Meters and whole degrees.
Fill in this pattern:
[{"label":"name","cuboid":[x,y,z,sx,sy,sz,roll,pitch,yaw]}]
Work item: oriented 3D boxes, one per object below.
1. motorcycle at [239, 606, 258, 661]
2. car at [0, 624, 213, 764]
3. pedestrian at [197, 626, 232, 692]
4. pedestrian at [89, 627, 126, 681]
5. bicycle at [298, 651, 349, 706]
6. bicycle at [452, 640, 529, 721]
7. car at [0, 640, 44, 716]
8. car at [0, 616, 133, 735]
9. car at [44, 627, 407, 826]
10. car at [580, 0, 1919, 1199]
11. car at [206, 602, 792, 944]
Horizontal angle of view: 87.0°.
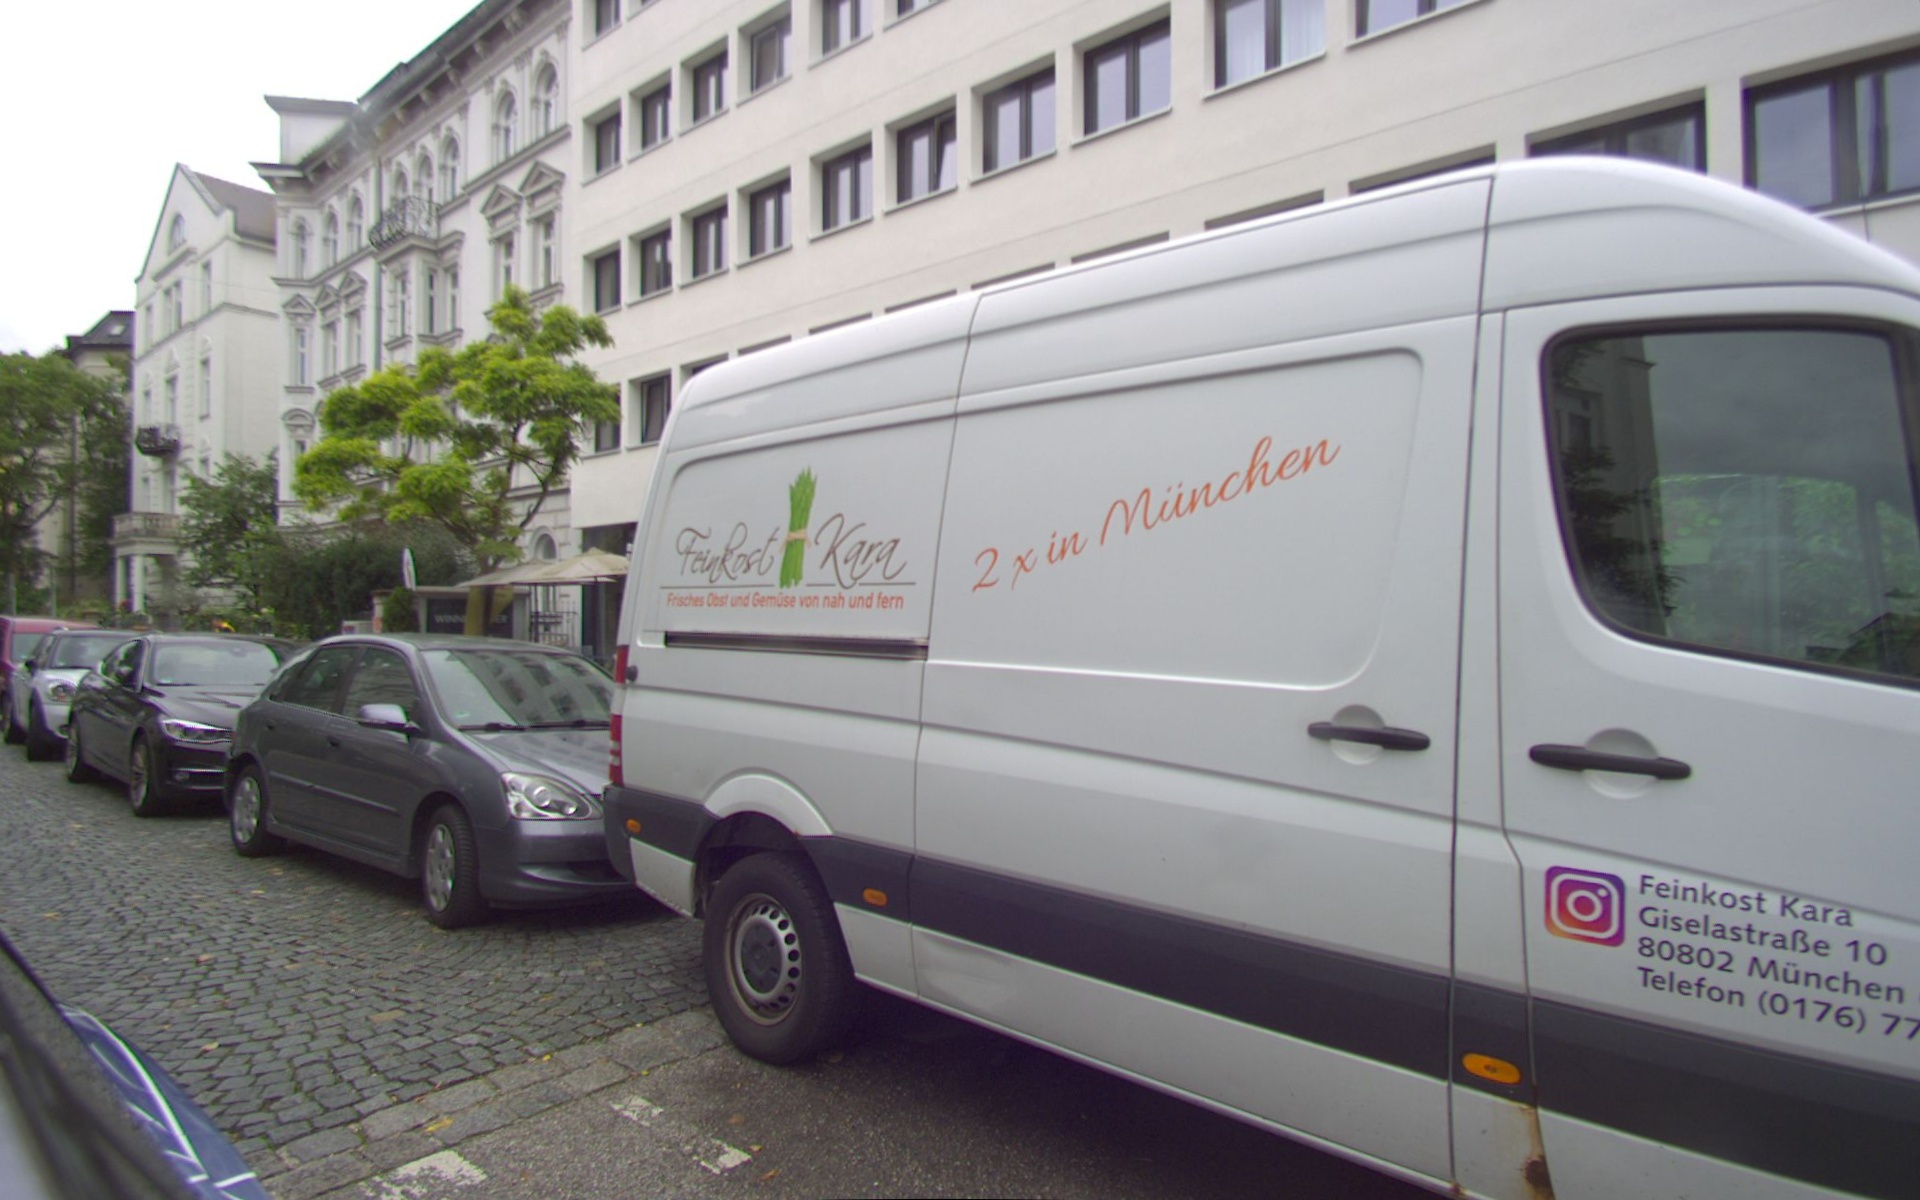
[{"label":"motorcycle","cuboid":[-16.052,0.751,22.837,0.326,1.189,1.629,0,-1,-35]},{"label":"car","cuboid":[-10.987,1.069,12.912,3.777,1.515,1.674,-1,-2,43]},{"label":"pedestrian","cuboid":[-19.037,1.491,25.833,0.569,1.659,0.822,3,-4,-44]},{"label":"pedestrian","cuboid":[-26.478,1.662,31.447,0.655,1.640,0.671,0,-1,-19]},{"label":"bicycle","cuboid":[-12.955,1.586,20.577,1.682,1.087,0.255,-3,-2,35]},{"label":"bicycle","cuboid":[-7.388,1.237,15.892,1.910,1.184,0.356,-1,-2,41]},{"label":"car","cuboid":[-19.924,1.539,20.334,3.810,1.404,1.616,-1,-1,38]},{"label":"car","cuboid":[-15.131,1.160,16.554,3.894,1.736,1.700,-1,-3,39]},{"label":"car","cuboid":[-7.127,1.043,9.640,4.469,1.476,1.708,-2,-4,40]},{"label":"car","cuboid":[1.267,0.173,3.074,5.791,2.594,1.956,-1,-4,41]},{"label":"car","cuboid":[-3.029,0.798,6.309,3.975,1.494,1.646,-1,-1,37]}]
